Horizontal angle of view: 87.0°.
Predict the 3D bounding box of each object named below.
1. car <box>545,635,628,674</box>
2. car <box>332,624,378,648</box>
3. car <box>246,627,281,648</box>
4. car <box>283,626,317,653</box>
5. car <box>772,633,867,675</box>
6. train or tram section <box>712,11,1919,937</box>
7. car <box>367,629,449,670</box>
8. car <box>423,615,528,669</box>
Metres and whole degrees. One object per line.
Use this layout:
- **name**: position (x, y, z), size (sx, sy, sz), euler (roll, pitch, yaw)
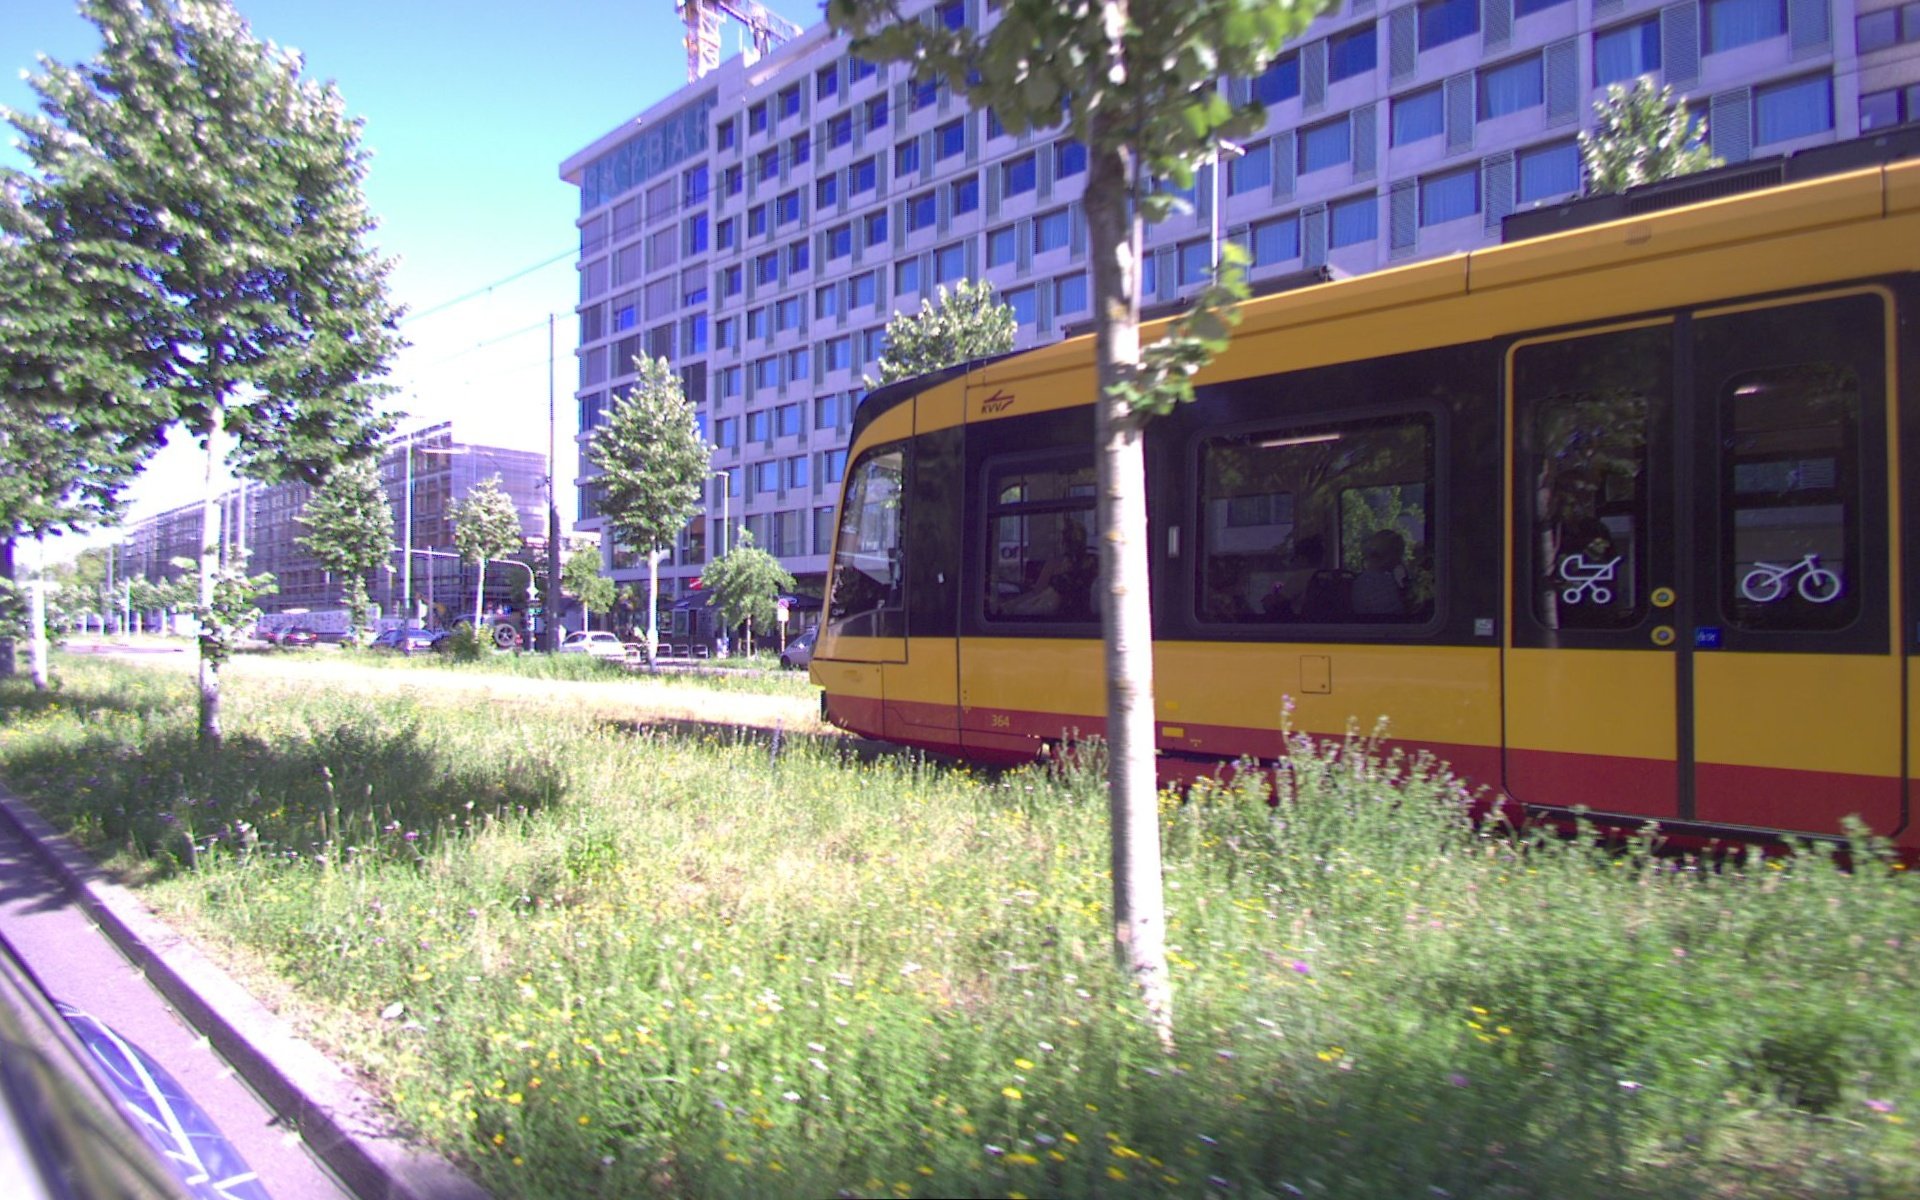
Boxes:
- **car**: position (-16.232, 2.337, 43.936), size (3.811, 1.519, 1.804), euler (-1, -1, 41)
- **car**: position (-40.824, 2.410, 68.211), size (4.002, 1.558, 1.718), euler (-1, -1, 45)
- **car**: position (-55.786, 3.008, 81.081), size (1.861, 1.586, 4.005), euler (0, -1, -41)
- **car**: position (-44.058, 2.595, 67.505), size (1.749, 1.686, 3.899), euler (0, -1, -35)
- **car**: position (-5.735, 2.165, 41.135), size (3.771, 1.561, 1.841), euler (-1, -1, 41)
- **train or tram section**: position (3.806, -0.491, 5.346), size (14.140, 3.697, 1.973), euler (-1, -1, 40)
- **car**: position (-22.824, 1.994, 41.769), size (3.998, 1.564, 1.707), euler (-1, -1, 41)
- **car**: position (-17.814, 1.487, 37.126), size (4.284, 1.833, 1.972), euler (-1, -1, 42)
